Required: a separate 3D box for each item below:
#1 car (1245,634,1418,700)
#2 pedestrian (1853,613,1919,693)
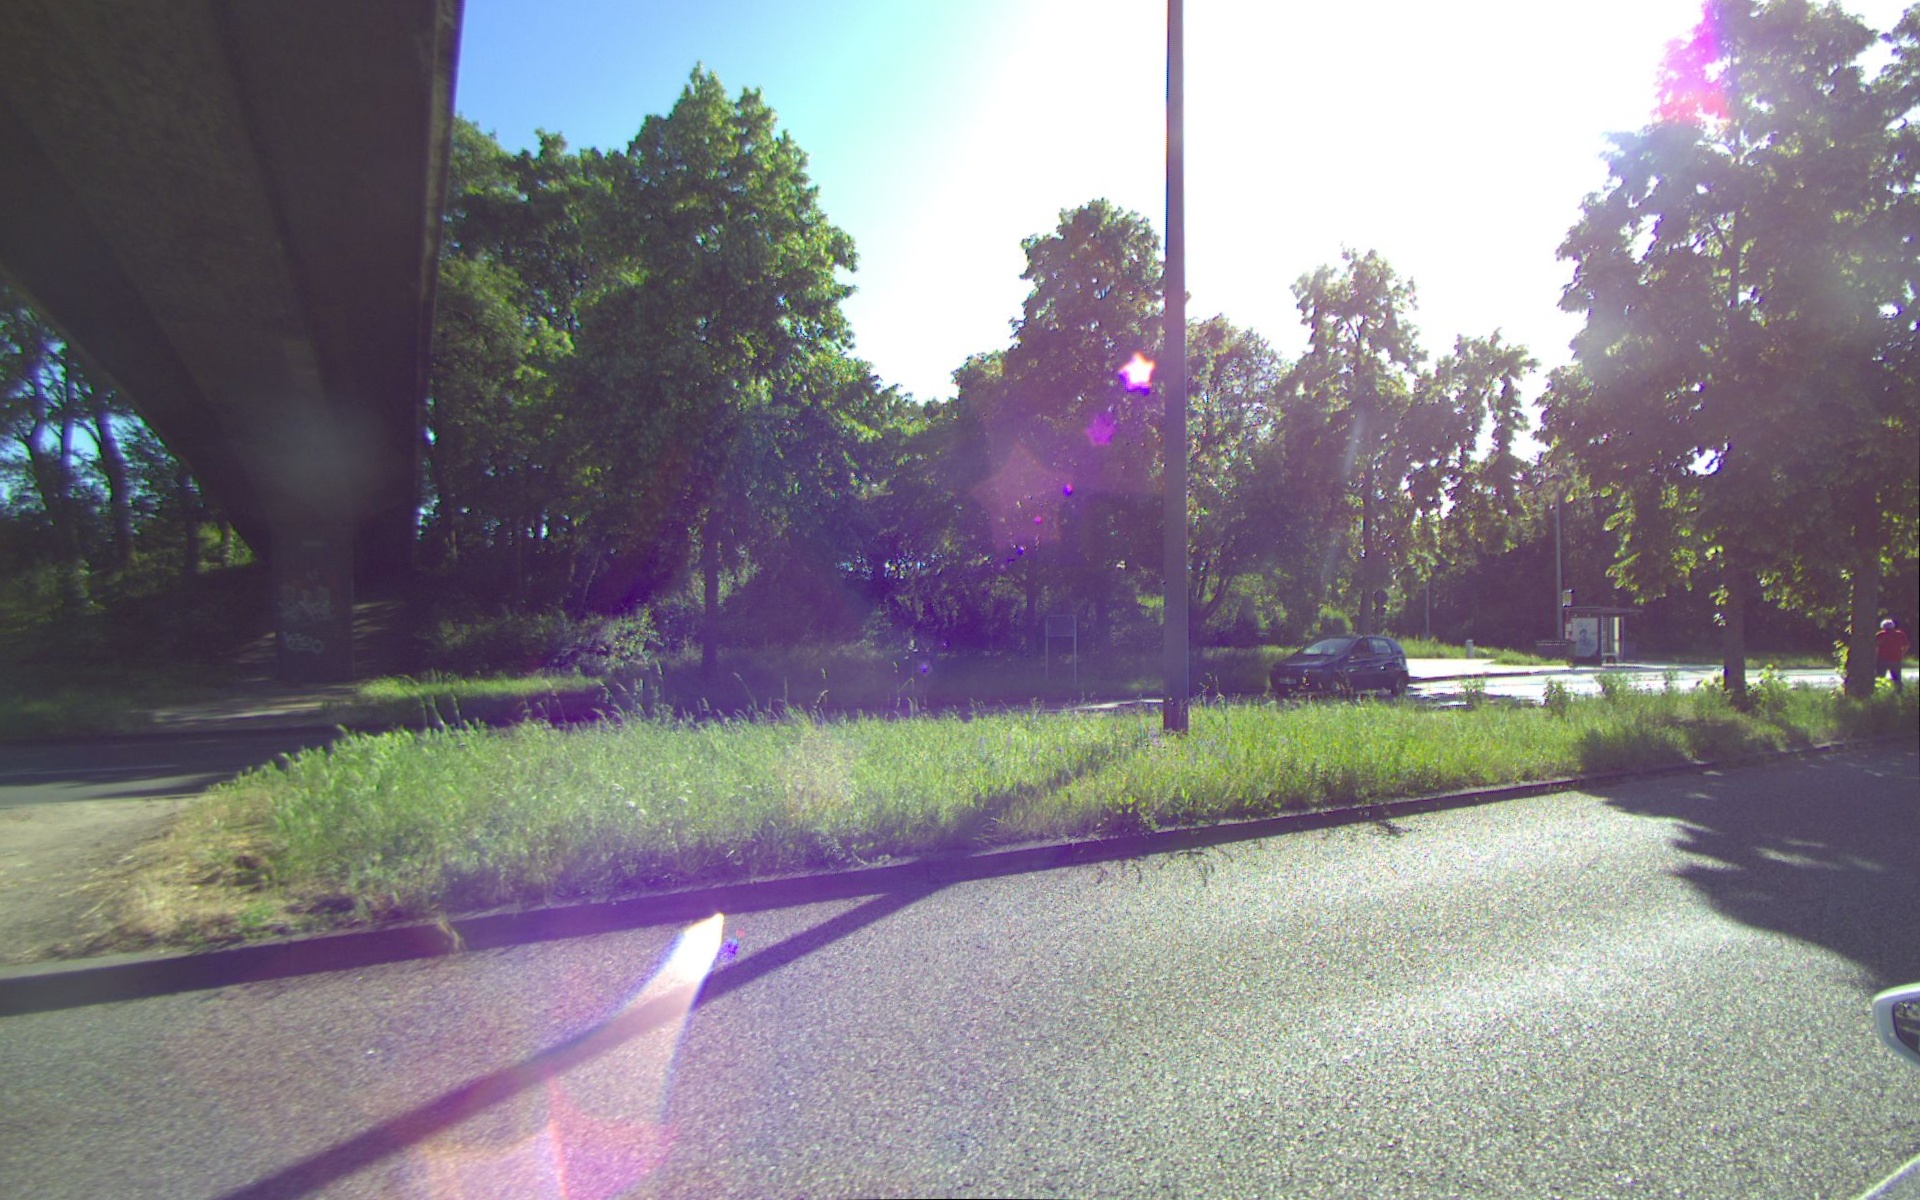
[{"bbox_3d":[8.840,1.549,23.814,4.206,1.449,1.533,1,-3,-31],"label":"car"},{"bbox_3d":[20.317,1.163,22.035,0.925,1.719,0.632,1,-1,-3],"label":"pedestrian"}]
